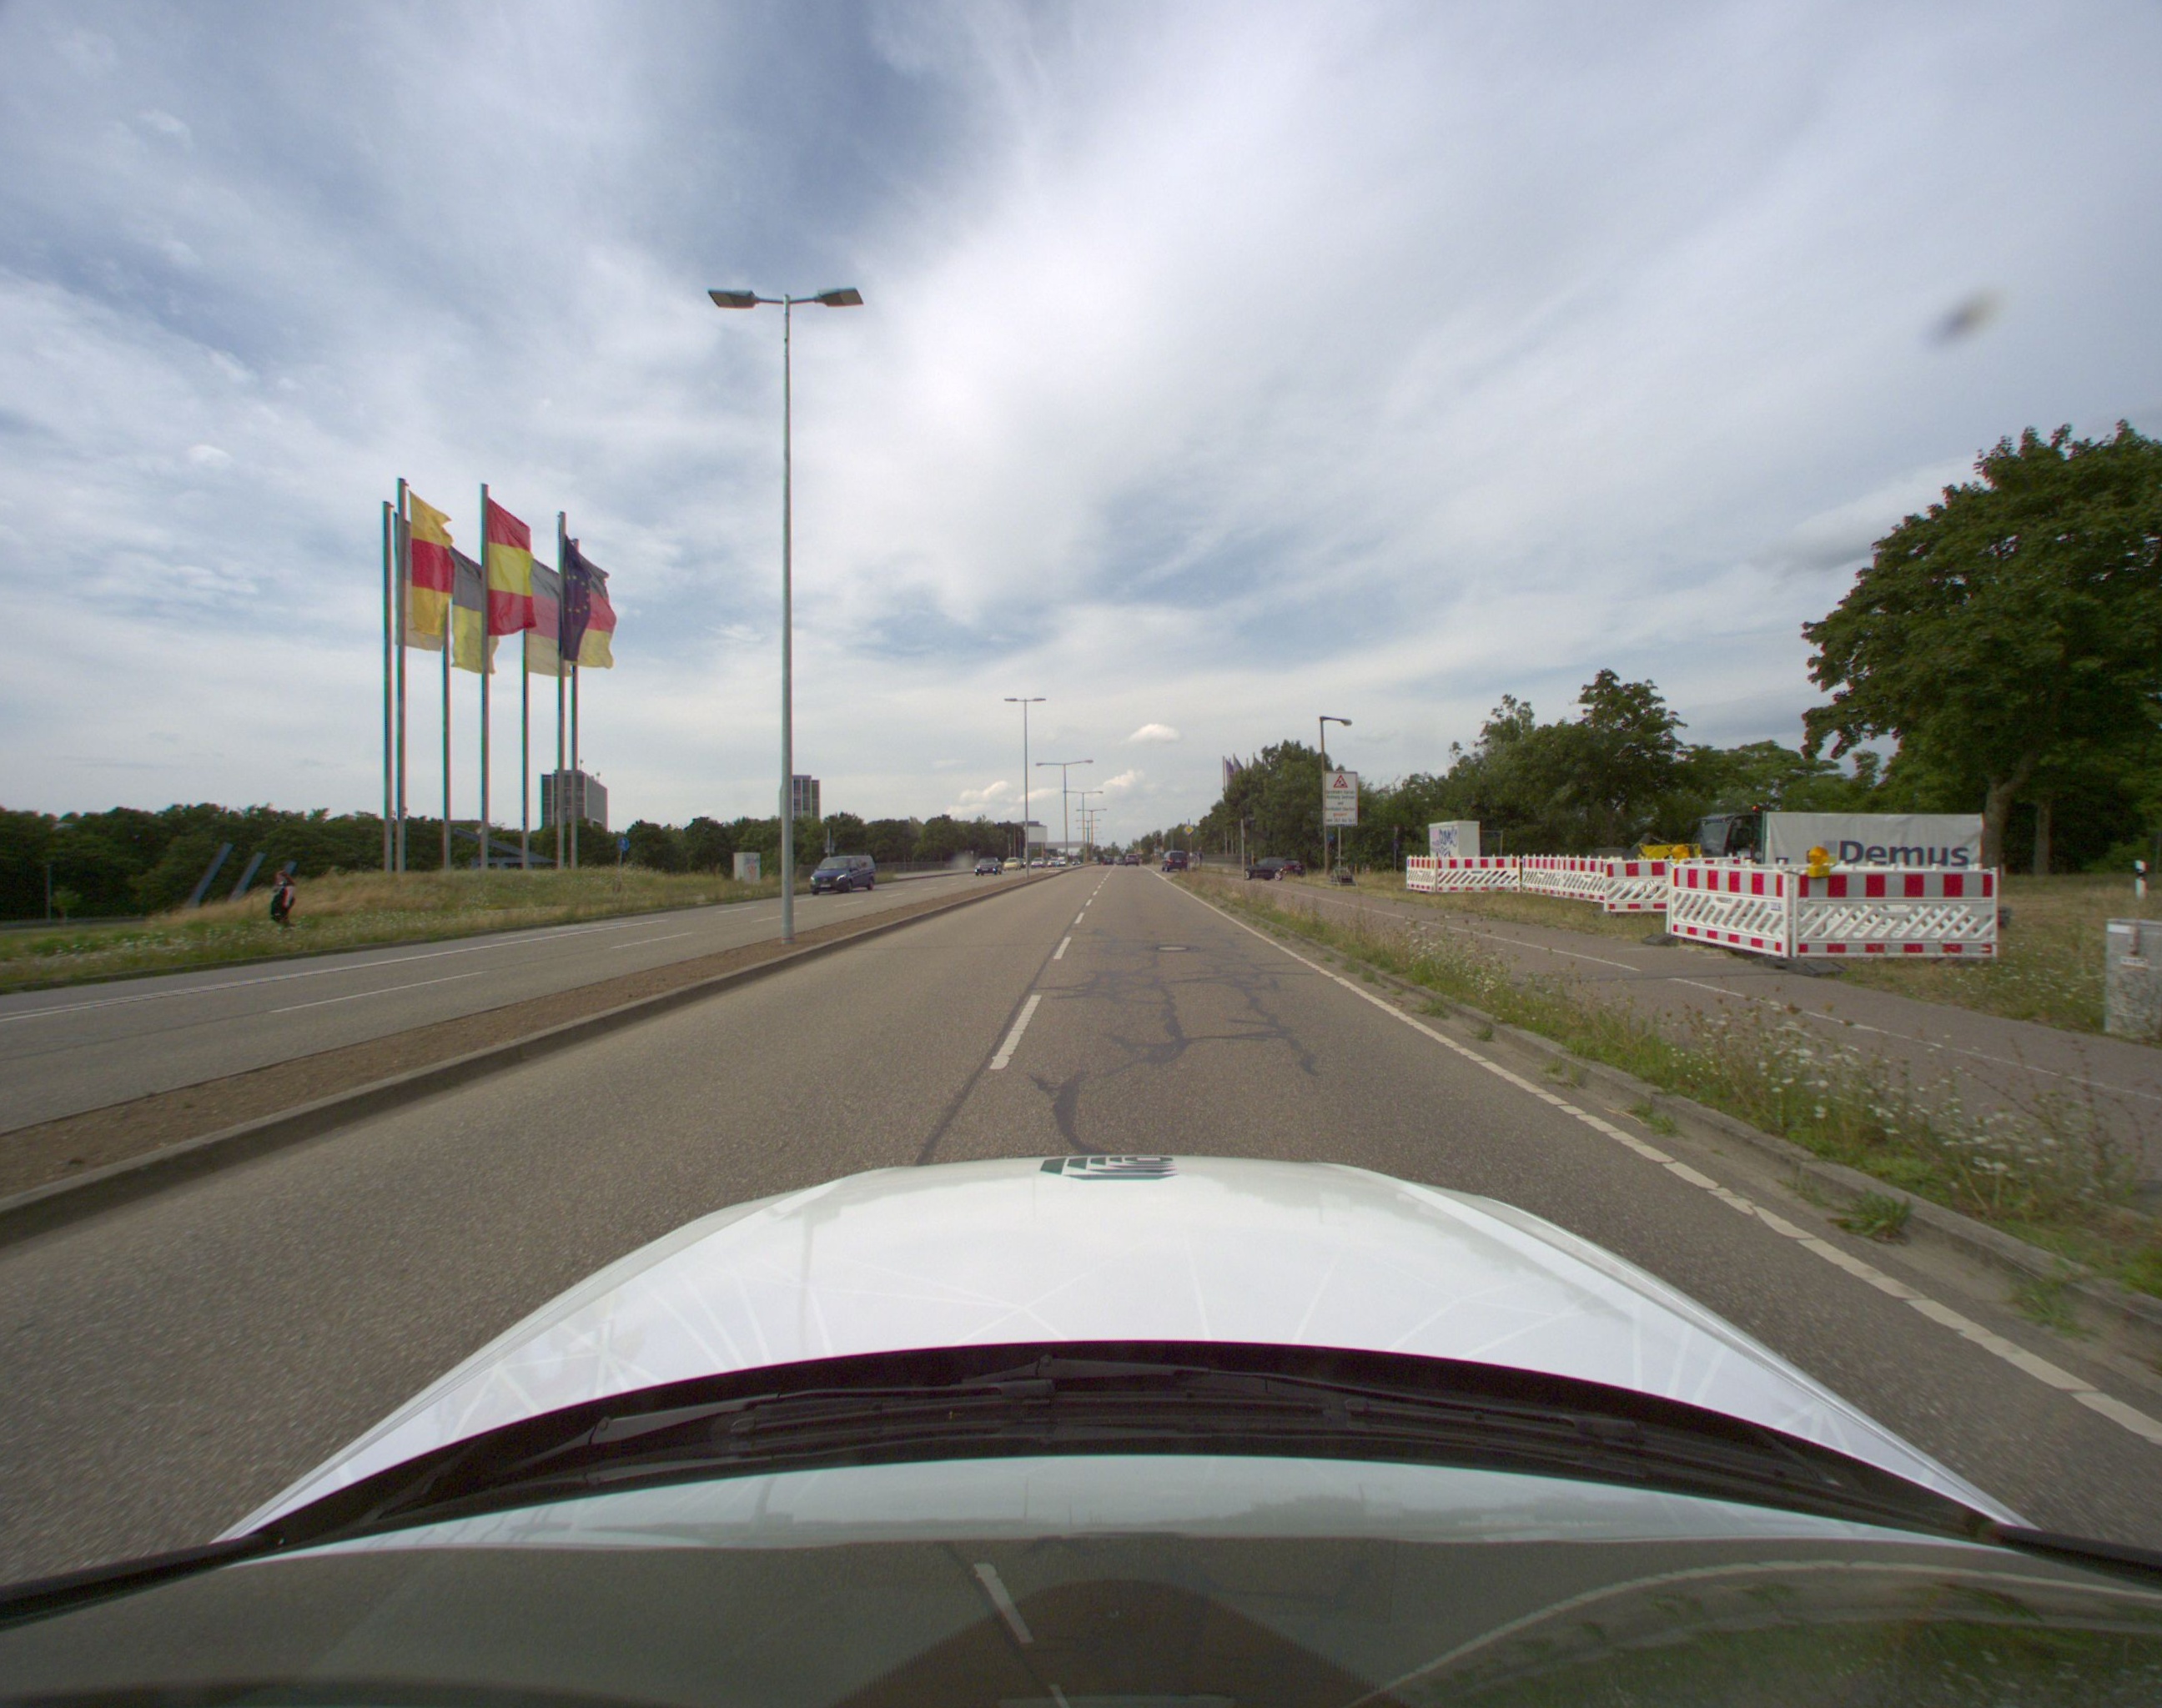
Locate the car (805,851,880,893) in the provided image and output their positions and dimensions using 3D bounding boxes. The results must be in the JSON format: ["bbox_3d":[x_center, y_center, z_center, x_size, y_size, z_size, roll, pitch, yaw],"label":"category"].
[{"bbox_3d":[-12.143,0.848,41.891,1.839,1.893,5.510,-4,0,4],"label":"car"}]

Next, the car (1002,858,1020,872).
[{"bbox_3d":[-8.467,1.271,98.785,1.542,1.578,3.693,-3,0,2],"label":"car"}]

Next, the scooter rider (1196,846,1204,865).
[{"bbox_3d":[10.861,0.136,74.171,0.586,1.690,0.742,0,-1,-6],"label":"scooter rider"}]

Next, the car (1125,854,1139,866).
[{"bbox_3d":[6.859,0.847,109.531,1.724,1.653,4.116,0,-1,2],"label":"car"}]

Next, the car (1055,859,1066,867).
[{"bbox_3d":[-4.087,1.879,164.272,1.730,1.480,4.478,-3,0,5],"label":"car"}]

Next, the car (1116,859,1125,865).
[{"bbox_3d":[9.297,1.845,191.051,1.727,1.526,4.109,0,-1,-4],"label":"car"}]

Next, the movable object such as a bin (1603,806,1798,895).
[{"bbox_3d":[19.429,-0.105,25.732,4.478,2.689,2.105,0,-1,6],"label":"movable object such as a bin"}]

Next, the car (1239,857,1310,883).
[{"bbox_3d":[11.401,0.907,48.271,1.742,1.395,4.074,-2,1,-31],"label":"car"}]

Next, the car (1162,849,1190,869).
[{"bbox_3d":[7.936,0.446,68.301,1.726,1.653,4.112,0,-1,-1],"label":"car"}]

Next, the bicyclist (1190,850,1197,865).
[{"bbox_3d":[12.041,0.372,87.011,0.662,1.659,0.806,0,1,2],"label":"bicyclist"}]

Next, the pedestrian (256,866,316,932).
[{"bbox_3d":[-21.205,1.182,21.731,0.862,1.693,0.679,-2,0,0],"label":"pedestrian"}]

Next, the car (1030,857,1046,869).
[{"bbox_3d":[-6.008,1.282,114.035,1.641,1.515,4.023,-3,0,6],"label":"car"}]

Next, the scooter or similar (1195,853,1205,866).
[{"bbox_3d":[10.857,0.490,74.204,0.587,1.224,1.200,0,-1,-5],"label":"scooter or similar"}]

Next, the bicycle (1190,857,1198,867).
[{"bbox_3d":[12.045,0.877,87.006,0.574,1.022,1.977,-4,1,2],"label":"bicycle"}]

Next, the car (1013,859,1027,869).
[{"bbox_3d":[-9.222,1.494,123.373,1.733,1.515,4.317,-3,0,2],"label":"car"}]

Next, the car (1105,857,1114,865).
[{"bbox_3d":[5.456,1.350,154.866,1.723,1.653,4.118,0,-1,3],"label":"car"}]

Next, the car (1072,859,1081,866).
[{"bbox_3d":[-0.997,1.973,189.639,1.731,1.481,4.778,-3,-1,2],"label":"car"}]

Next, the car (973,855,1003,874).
[{"bbox_3d":[-7.705,0.882,68.005,1.756,1.440,4.180,-3,0,2],"label":"car"}]

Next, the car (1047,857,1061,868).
[{"bbox_3d":[-4.805,1.531,145.586,1.855,1.725,4.774,-3,0,3],"label":"car"}]
